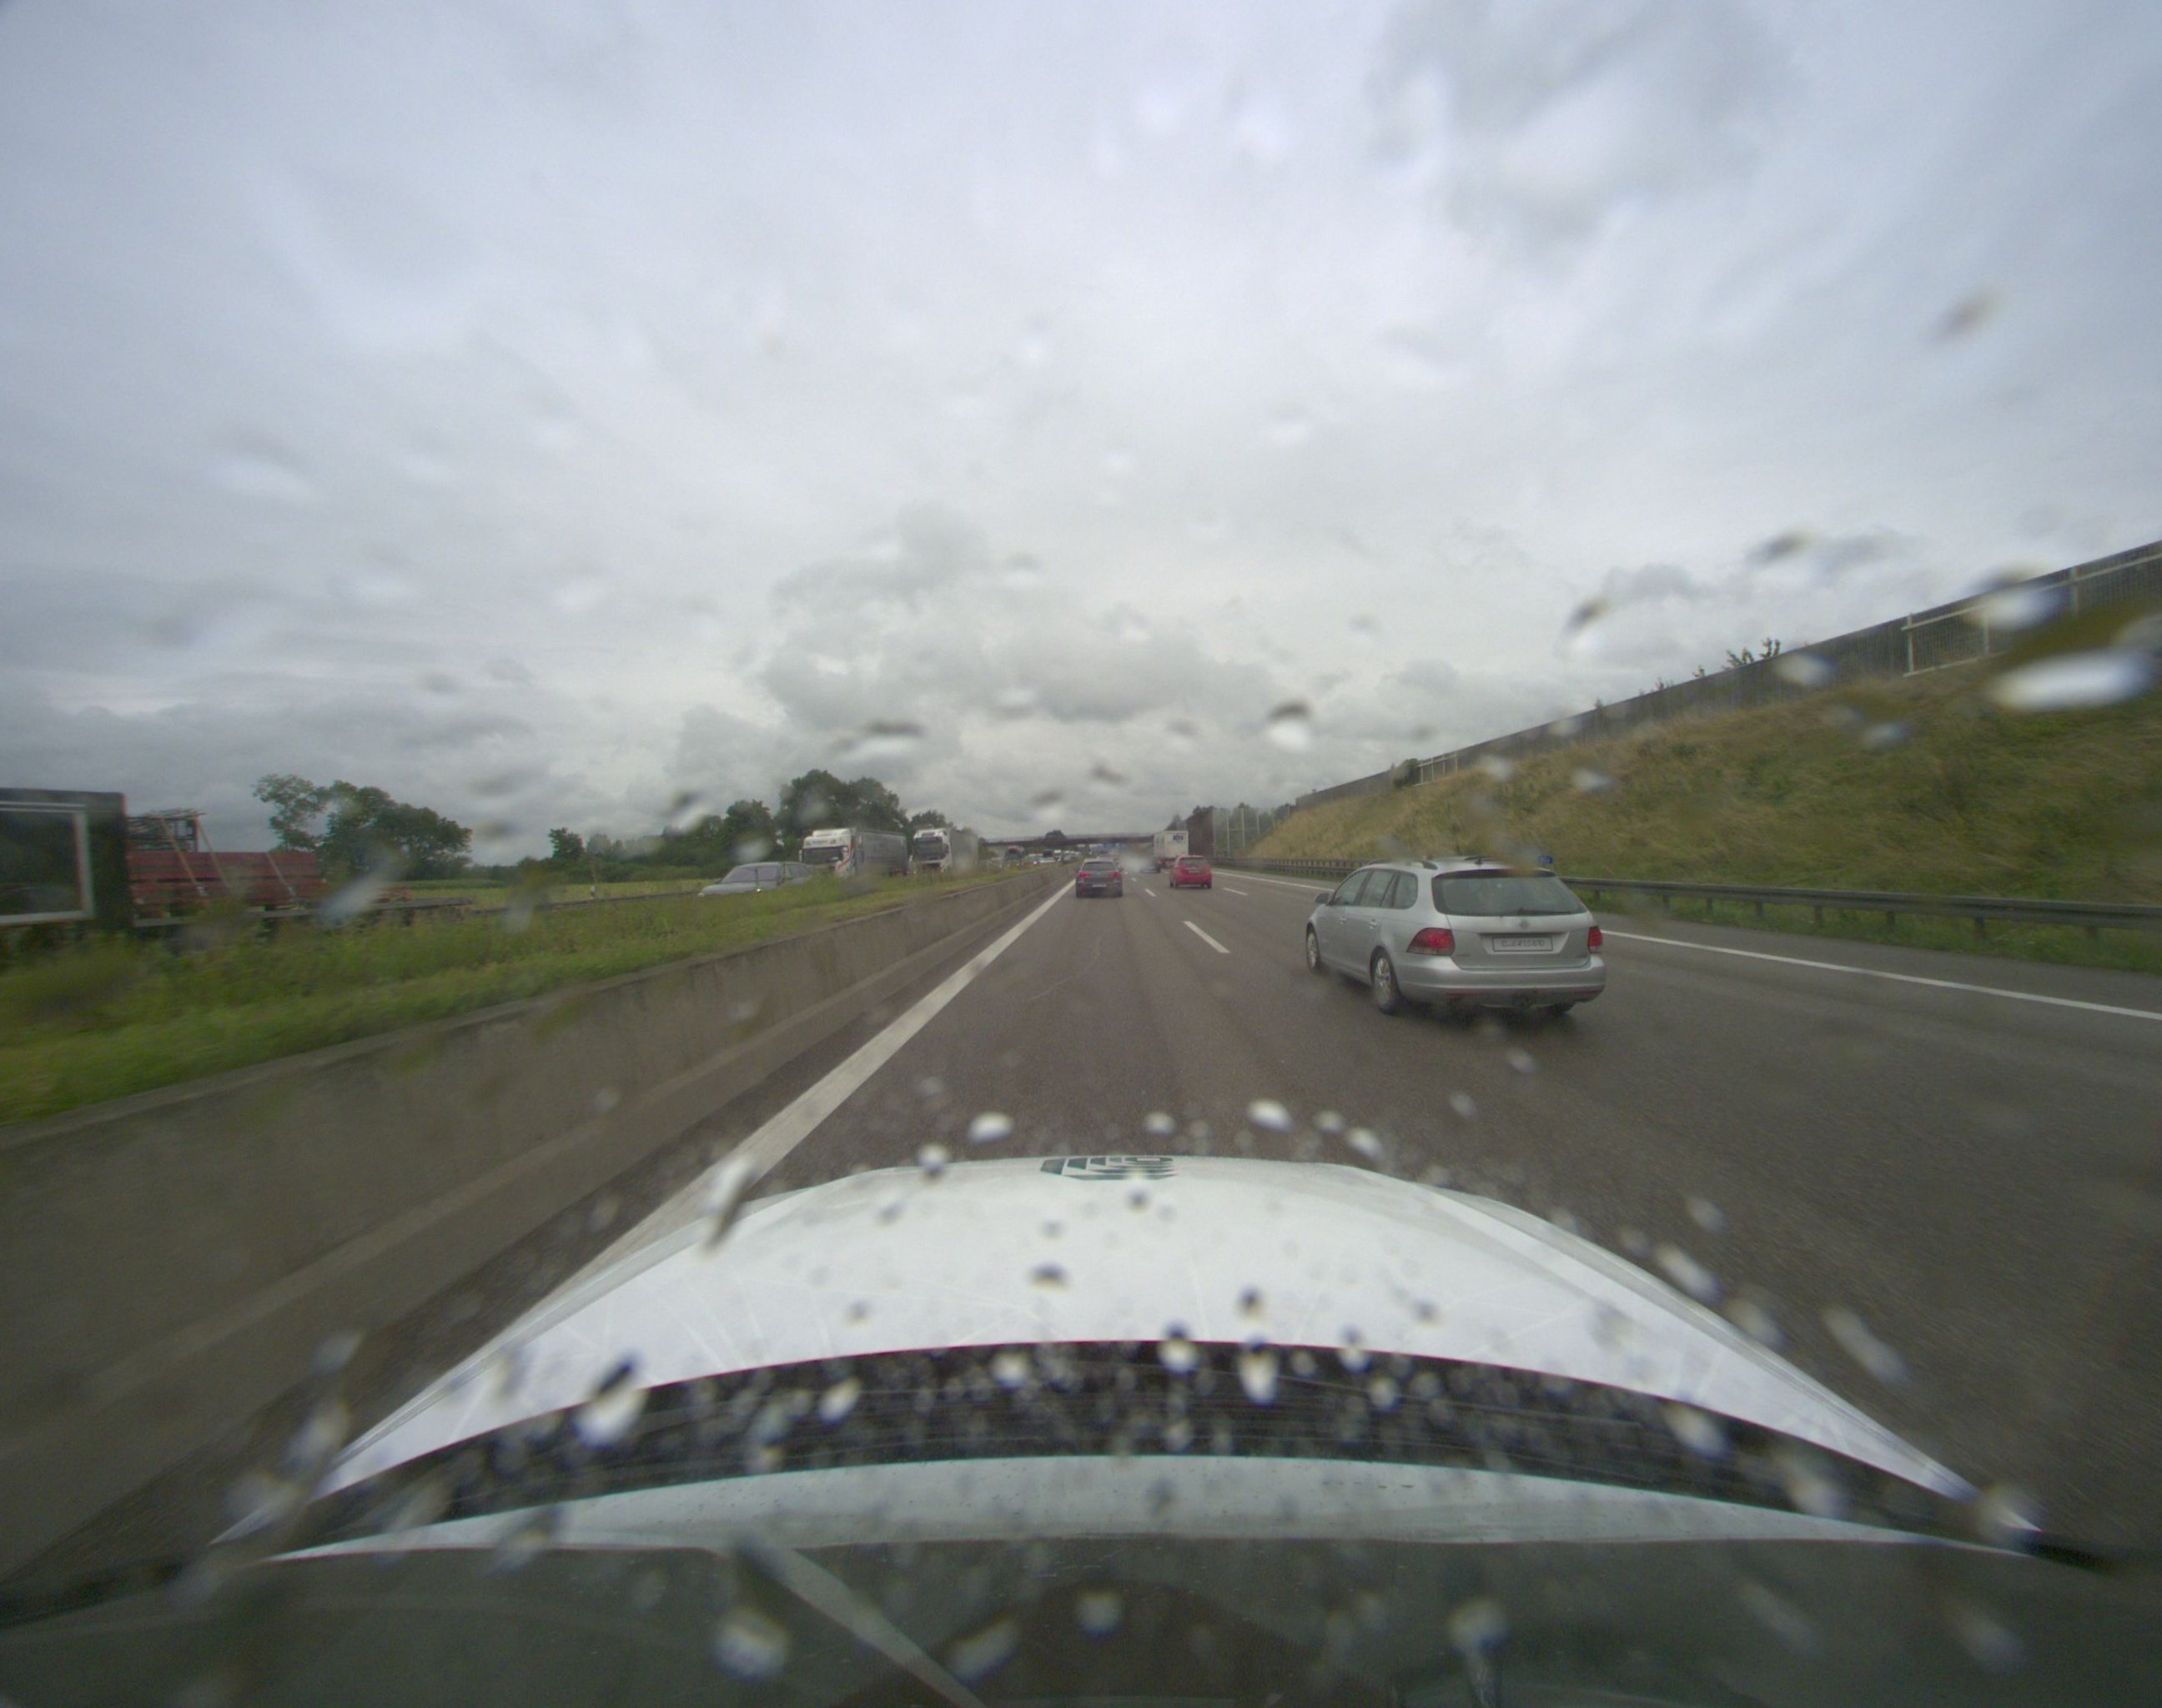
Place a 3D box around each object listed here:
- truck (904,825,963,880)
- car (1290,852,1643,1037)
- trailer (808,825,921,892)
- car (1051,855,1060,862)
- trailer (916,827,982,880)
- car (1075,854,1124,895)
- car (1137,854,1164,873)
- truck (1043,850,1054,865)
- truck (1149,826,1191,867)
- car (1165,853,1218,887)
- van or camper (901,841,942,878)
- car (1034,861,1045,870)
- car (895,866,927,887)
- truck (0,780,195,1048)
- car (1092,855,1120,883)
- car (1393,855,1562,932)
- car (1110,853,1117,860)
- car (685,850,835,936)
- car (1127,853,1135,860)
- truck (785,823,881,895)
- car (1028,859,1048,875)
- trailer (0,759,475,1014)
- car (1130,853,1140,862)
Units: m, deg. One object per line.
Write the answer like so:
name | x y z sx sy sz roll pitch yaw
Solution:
truck | -11.054 -0.079 61.756 3.081 3.976 6.374 0 -1 2
car | 3.673 0.731 8.799 1.735 1.425 4.518 -2 0 1
trailer | -15.505 0.373 60.316 3.699 4.271 15.630 0 -1 2
car | -6.890 1.193 222.154 2.085 1.710 4.803 -1 0 2
trailer | -10.842 0.019 68.376 3.074 4.089 12.334 0 -1 2
car | 0.706 0.752 31.150 1.762 1.467 4.000 0 -1 1
car | 5.925 0.766 69.766 1.914 1.522 4.623 -1 0 1
truck | -9.530 1.032 238.055 2.747 4.050 6.257 0 -1 2
truck | 10.145 -0.693 95.238 3.271 4.295 19.036 0 -1 1
car | 5.080 0.694 38.040 1.884 1.446 4.685 -1 0 0
van or camper | -15.929 0.588 81.952 2.700 3.503 7.697 0 -1 -1
car | -8.663 2.356 170.248 2.086 1.710 5.165 -1 0 1
car | -15.761 2.069 75.561 2.086 1.753 5.130 0 0 -3
truck | -12.960 0.639 7.032 2.303 2.908 7.426 0 -1 2
car | 1.763 1.026 57.612 1.819 1.850 4.001 -2 0 1
car | 8.026 0.737 16.906 1.696 1.401 3.876 0 -1 1
car | 9.276 0.802 232.318 1.986 2.014 4.243 0 -1 2
car | -8.558 0.955 22.248 1.986 2.013 4.802 -2 0 2
car | 13.885 0.681 225.969 1.986 1.812 4.229 -3 0 2
truck | -15.746 0.361 52.407 3.602 4.275 7.594 0 -1 2
car | -5.096 1.515 97.036 1.986 1.764 5.073 -3 0 1
trailer | -17.033 0.440 14.749 2.631 3.725 12.199 0 1 2
car | 10.917 0.765 164.416 1.839 1.687 4.000 0 -1 1
